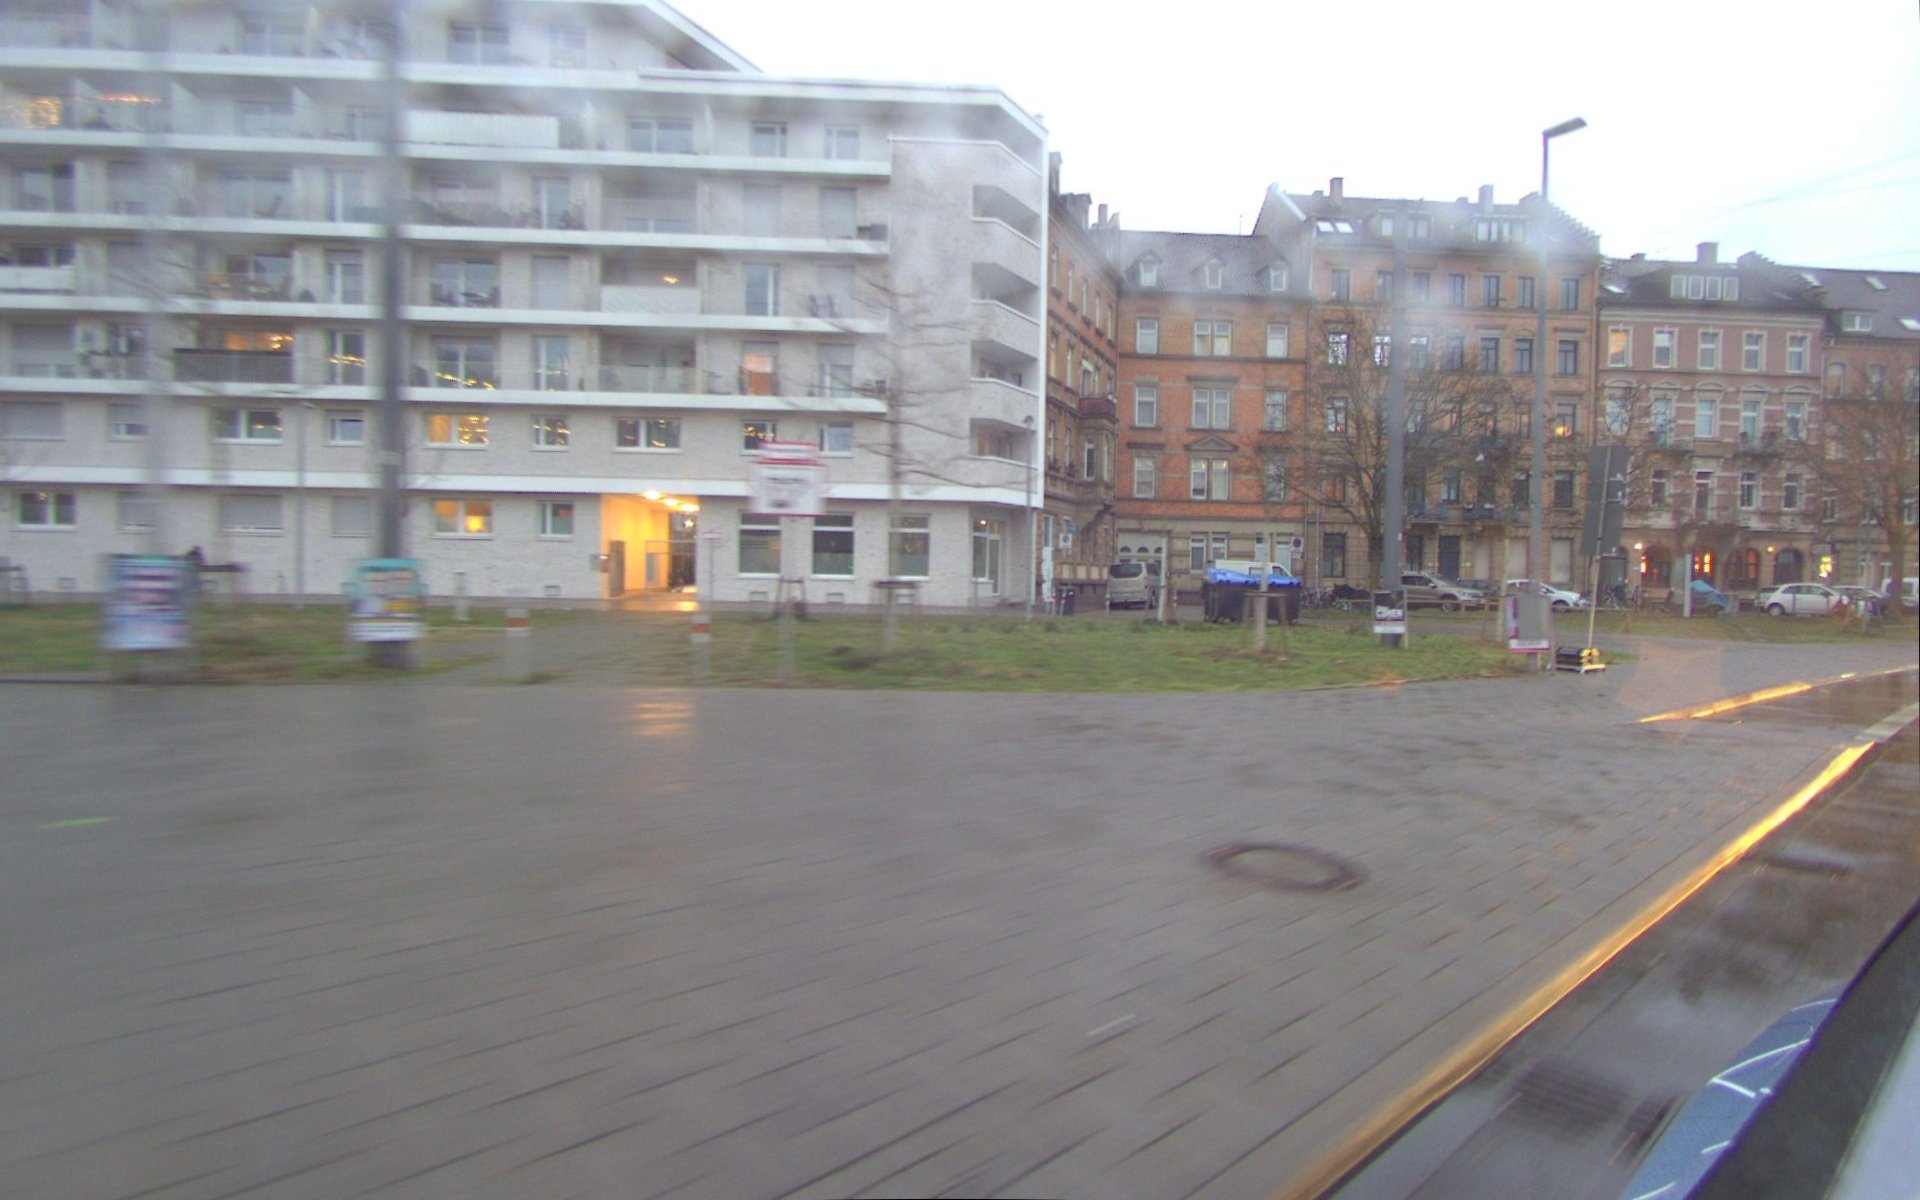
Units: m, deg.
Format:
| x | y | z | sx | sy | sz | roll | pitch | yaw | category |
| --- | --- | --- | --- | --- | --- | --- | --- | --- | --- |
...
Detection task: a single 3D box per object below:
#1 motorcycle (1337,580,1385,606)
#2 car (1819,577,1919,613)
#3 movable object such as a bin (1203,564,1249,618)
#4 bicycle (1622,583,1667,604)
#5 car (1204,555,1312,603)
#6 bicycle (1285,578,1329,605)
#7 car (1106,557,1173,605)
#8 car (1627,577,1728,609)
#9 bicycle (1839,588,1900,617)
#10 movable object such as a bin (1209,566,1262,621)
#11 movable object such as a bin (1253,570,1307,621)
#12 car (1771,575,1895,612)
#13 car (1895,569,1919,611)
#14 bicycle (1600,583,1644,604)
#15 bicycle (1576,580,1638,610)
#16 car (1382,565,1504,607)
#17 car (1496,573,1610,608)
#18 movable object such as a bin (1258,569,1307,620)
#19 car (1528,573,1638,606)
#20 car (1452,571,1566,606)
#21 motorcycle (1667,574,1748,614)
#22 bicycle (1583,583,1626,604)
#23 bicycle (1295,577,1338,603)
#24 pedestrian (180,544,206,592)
| x | y | z | sx | sy | sz | roll | pitch | yaw | category |
| --- | --- | --- | --- | --- | --- | --- | --- | --- | --- |
| 15.929 | -0.291 | 40.234 | 0.503 | 0.942 | 1.797 | 0 | 4 | -33 | motorcycle |
| 39.356 | -0.241 | 43.276 | 1.491 | 1.454 | 3.691 | 0 | 2 | -33 | car |
| 8.032 | -0.277 | 30.600 | 1.119 | 1.595 | 1.053 | 1 | 1 | 2 | movable object such as a bin |
| 29.623 | -0.287 | 43.829 | 0.386 | 0.827 | 1.800 | 1 | 3 | -13 | bicycle |
| 14.465 | -1.037 | 49.315 | 4.568 | 2.216 | 2.003 | 1 | 1 | -5 | car |
| 13.776 | -0.352 | 40.203 | 0.437 | 0.942 | 1.799 | 0 | 4 | -27 | bicycle |
| 7.814 | -0.849 | 43.783 | 1.921 | 1.966 | 4.564 | 1 | 2 | 22 | car |
| 31.493 | -0.338 | 44.485 | 1.491 | 1.322 | 3.303 | 0 | 2 | -33 | car |
| 33.702 | 0.088 | 37.533 | 0.437 | 0.942 | 1.799 | 1 | 3 | -5 | bicycle |
| 7.926 | -0.203 | 29.172 | 1.229 | 1.529 | 1.053 | 1 | 1 | 2 | movable object such as a bin |
| 9.262 | -0.139 | 29.350 | 1.202 | 1.450 | 1.053 | 1 | 1 | 2 | movable object such as a bin |
| 36.741 | -0.309 | 42.668 | 1.491 | 1.417 | 3.691 | 0 | 2 | -33 | car |
| 42.663 | -0.380 | 42.747 | 1.747 | 1.790 | 4.348 | 0 | 2 | -34 | car |
| 28.468 | -0.283 | 43.568 | 0.436 | 0.787 | 1.800 | 1 | 3 | -10 | bicycle |
| 24.744 | -0.191 | 38.745 | 1.881 | 1.031 | 0.534 | 2 | 3 | 17 | bicycle |
| 19.476 | -0.616 | 40.997 | 1.709 | 1.589 | 4.158 | 0 | 2 | -34 | car |
| 24.408 | -0.416 | 41.758 | 1.636 | 1.322 | 3.690 | 0 | 2 | -34 | car |
| 9.702 | -0.183 | 30.449 | 1.119 | 1.504 | 1.053 | 1 | 1 | 2 | movable object such as a bin |
| 26.454 | -0.468 | 43.059 | 1.492 | 1.322 | 3.690 | 0 | 2 | -34 | car |
| 22.137 | -0.488 | 40.912 | 1.709 | 1.322 | 3.690 | 0 | 2 | -34 | car |
| 28.559 | -0.256 | 38.717 | 0.866 | 1.361 | 2.365 | 0 | 5 | -19 | motorcycle |
| 27.793 | -0.306 | 43.667 | 0.436 | 0.804 | 1.800 | 1 | 3 | -10 | bicycle |
| 14.239 | -0.411 | 40.460 | 0.437 | 0.942 | 1.799 | 0 | 4 | -27 | bicycle |
| -26.764 | -1.120 | 35.316 | 0.620 | 1.652 | 0.723 | 0 | 1 | -29 | pedestrian |
